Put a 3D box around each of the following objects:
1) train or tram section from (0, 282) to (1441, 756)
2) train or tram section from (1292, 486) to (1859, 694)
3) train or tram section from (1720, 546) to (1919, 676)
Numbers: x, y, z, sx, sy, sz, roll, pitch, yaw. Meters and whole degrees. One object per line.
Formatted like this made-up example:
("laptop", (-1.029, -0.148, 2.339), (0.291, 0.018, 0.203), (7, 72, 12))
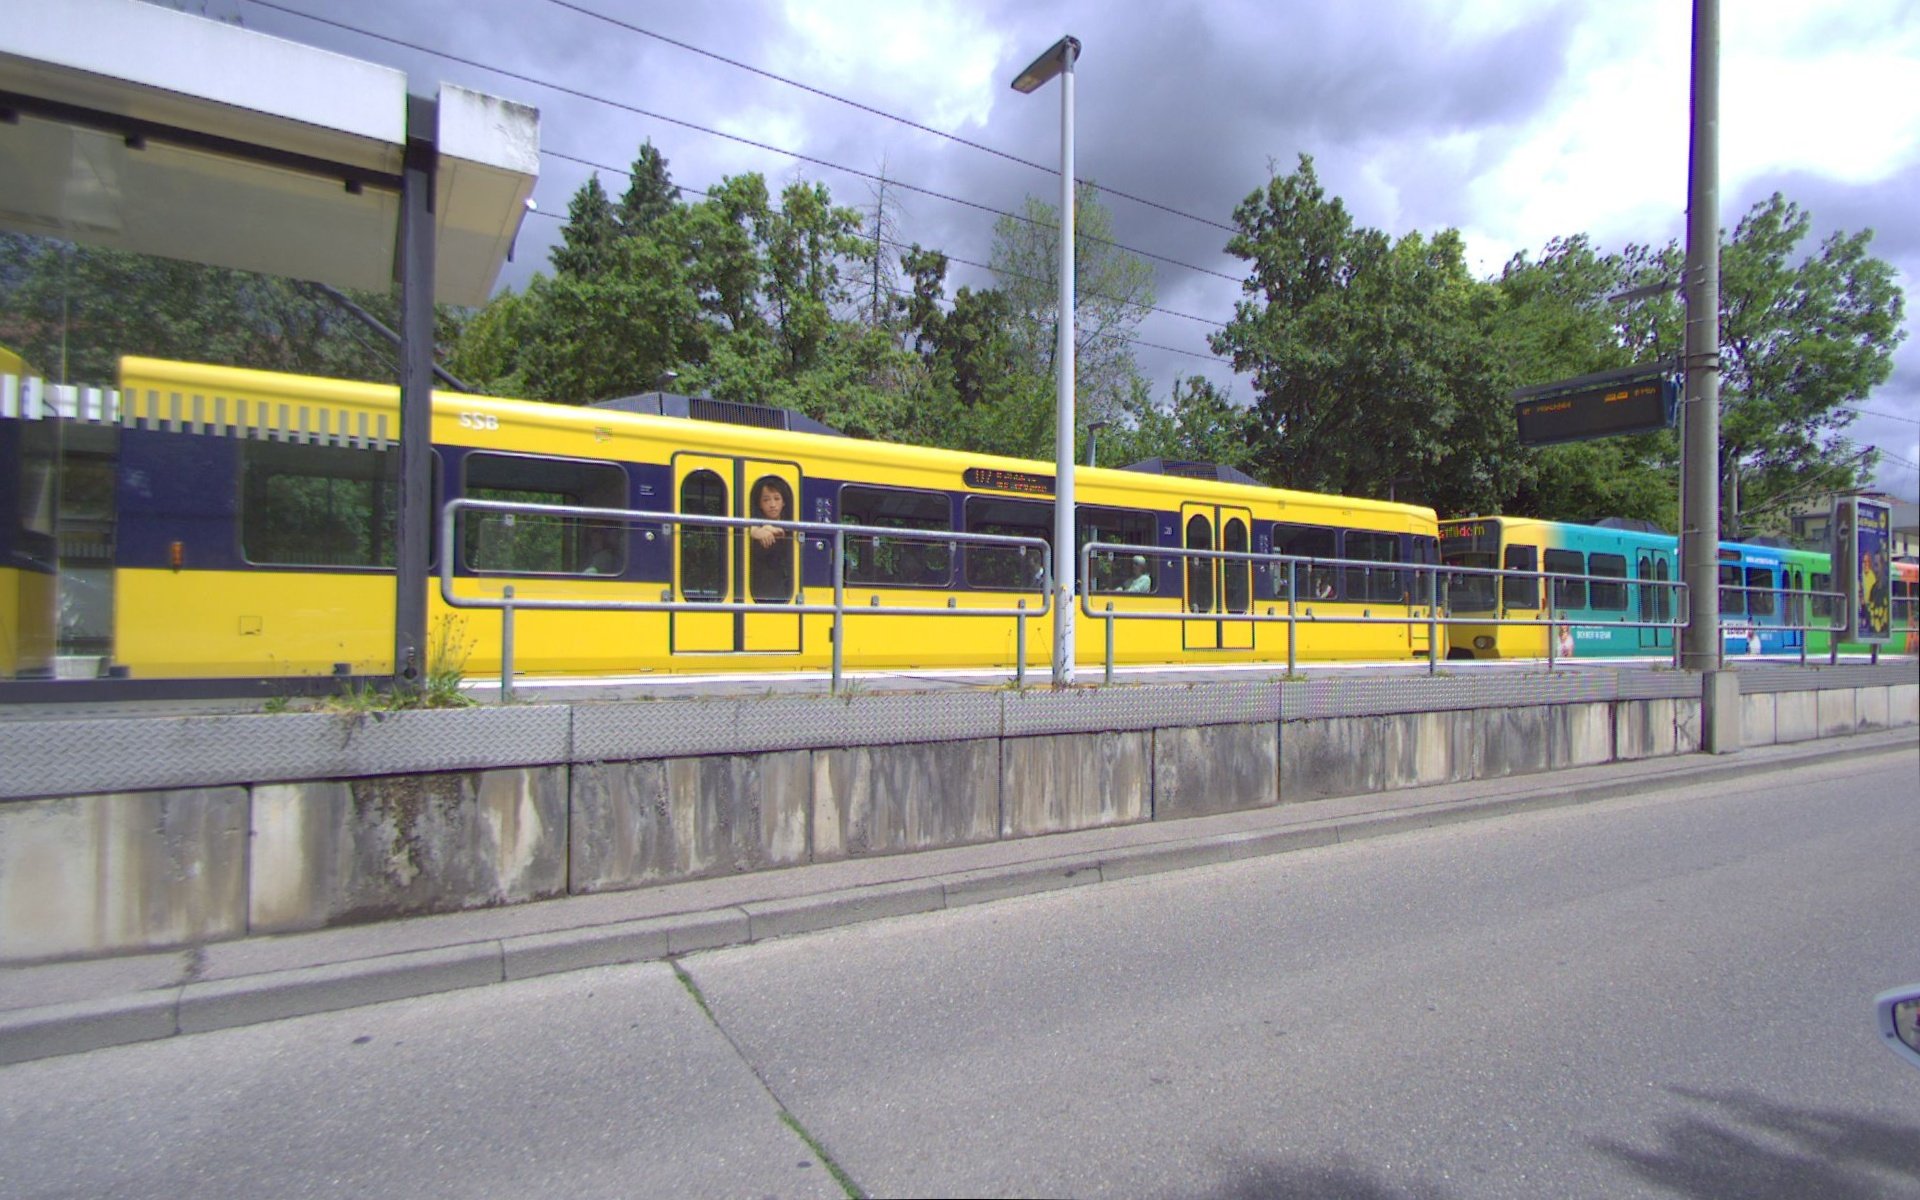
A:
("train or tram section", (-0.627, -0.413, 13.366), (18.785, 3.511, 3.091), (2, 0, -32))
("train or tram section", (15.374, 0.040, 23.378), (18.985, 3.511, 3.091), (2, 0, -32))
("train or tram section", (31.383, 0.494, 33.489), (18.877, 3.511, 3.091), (2, 0, -32))
